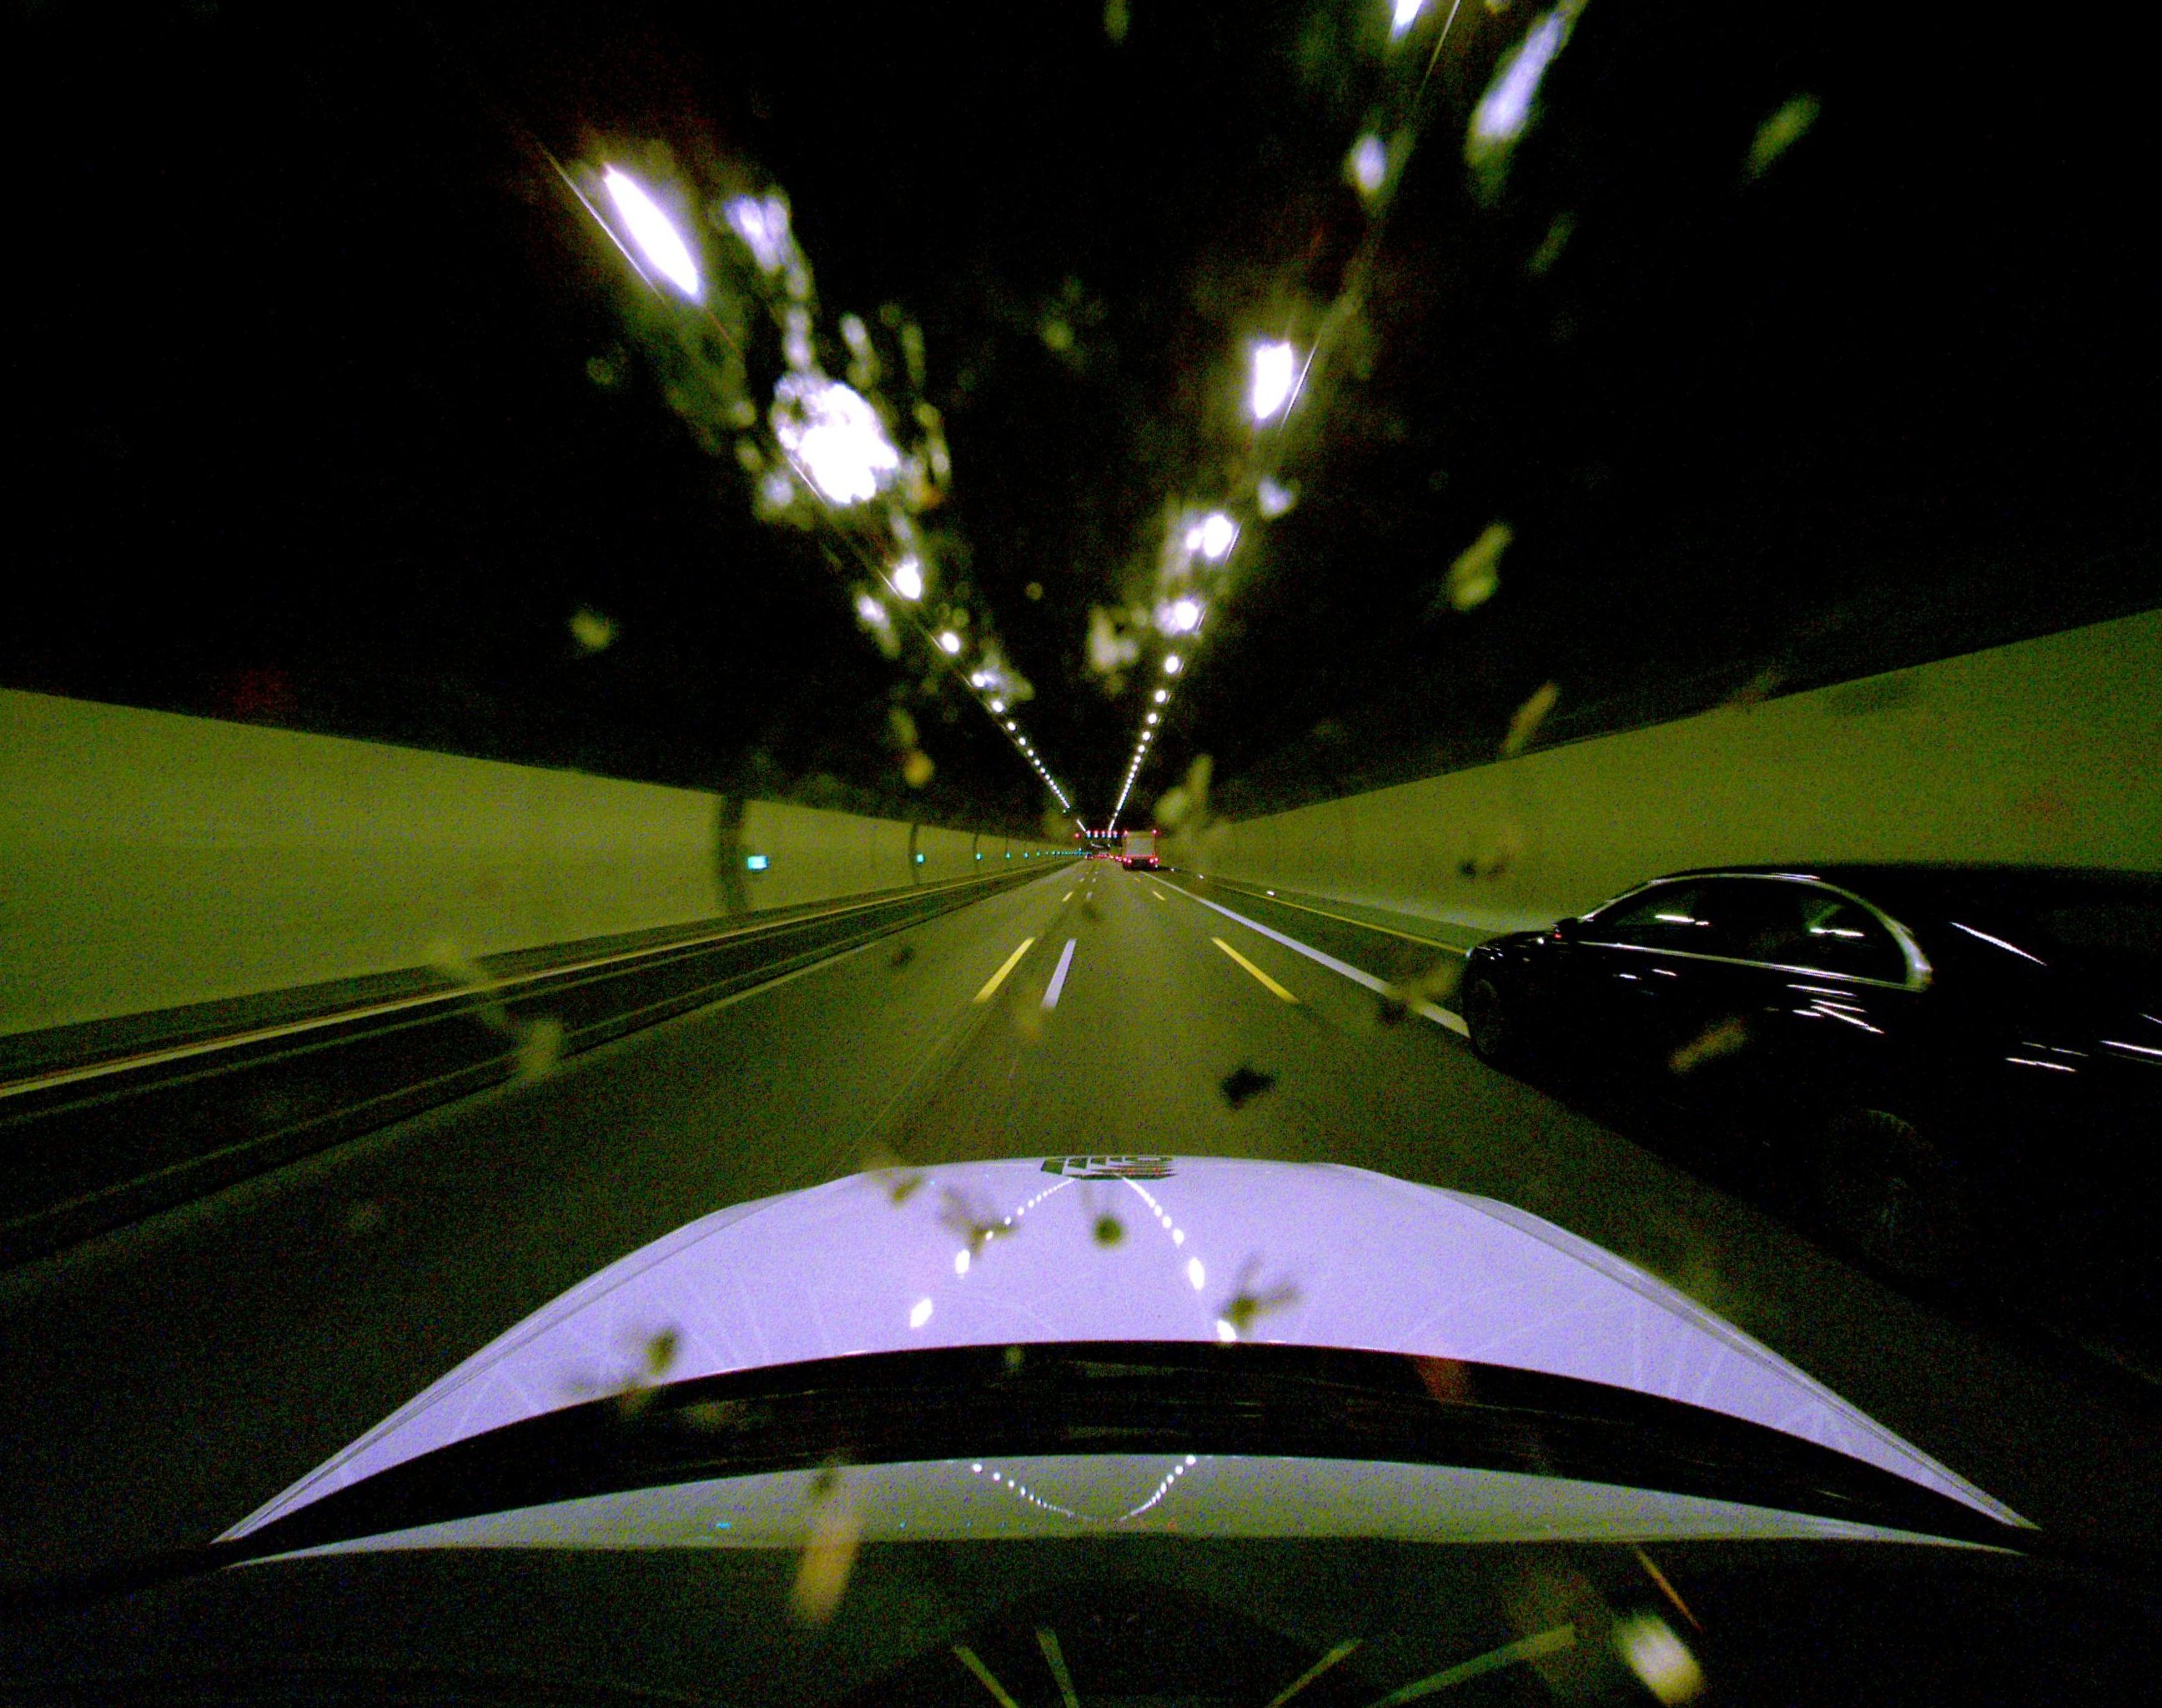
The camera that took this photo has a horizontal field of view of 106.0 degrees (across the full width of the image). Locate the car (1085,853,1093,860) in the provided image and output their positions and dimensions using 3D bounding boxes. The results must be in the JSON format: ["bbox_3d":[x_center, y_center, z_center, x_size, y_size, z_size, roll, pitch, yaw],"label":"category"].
[{"bbox_3d":[1.742,0.571,177.322,1.752,1.461,4.121,0,1,2],"label":"car"}]

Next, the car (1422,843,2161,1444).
[{"bbox_3d":[3.676,0.714,4.190,1.918,1.472,4.956,0,0,2],"label":"car"}]

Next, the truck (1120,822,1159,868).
[{"bbox_3d":[5.243,-0.716,74.695,3.080,3.918,10.371,0,-1,2],"label":"truck"}]

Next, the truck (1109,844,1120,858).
[{"bbox_3d":[9.890,-0.913,238.732,3.054,3.918,10.375,0,-1,3],"label":"truck"}]

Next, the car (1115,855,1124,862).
[{"bbox_3d":[7.792,0.857,163.371,1.732,1.461,3.963,0,1,3],"label":"car"}]
